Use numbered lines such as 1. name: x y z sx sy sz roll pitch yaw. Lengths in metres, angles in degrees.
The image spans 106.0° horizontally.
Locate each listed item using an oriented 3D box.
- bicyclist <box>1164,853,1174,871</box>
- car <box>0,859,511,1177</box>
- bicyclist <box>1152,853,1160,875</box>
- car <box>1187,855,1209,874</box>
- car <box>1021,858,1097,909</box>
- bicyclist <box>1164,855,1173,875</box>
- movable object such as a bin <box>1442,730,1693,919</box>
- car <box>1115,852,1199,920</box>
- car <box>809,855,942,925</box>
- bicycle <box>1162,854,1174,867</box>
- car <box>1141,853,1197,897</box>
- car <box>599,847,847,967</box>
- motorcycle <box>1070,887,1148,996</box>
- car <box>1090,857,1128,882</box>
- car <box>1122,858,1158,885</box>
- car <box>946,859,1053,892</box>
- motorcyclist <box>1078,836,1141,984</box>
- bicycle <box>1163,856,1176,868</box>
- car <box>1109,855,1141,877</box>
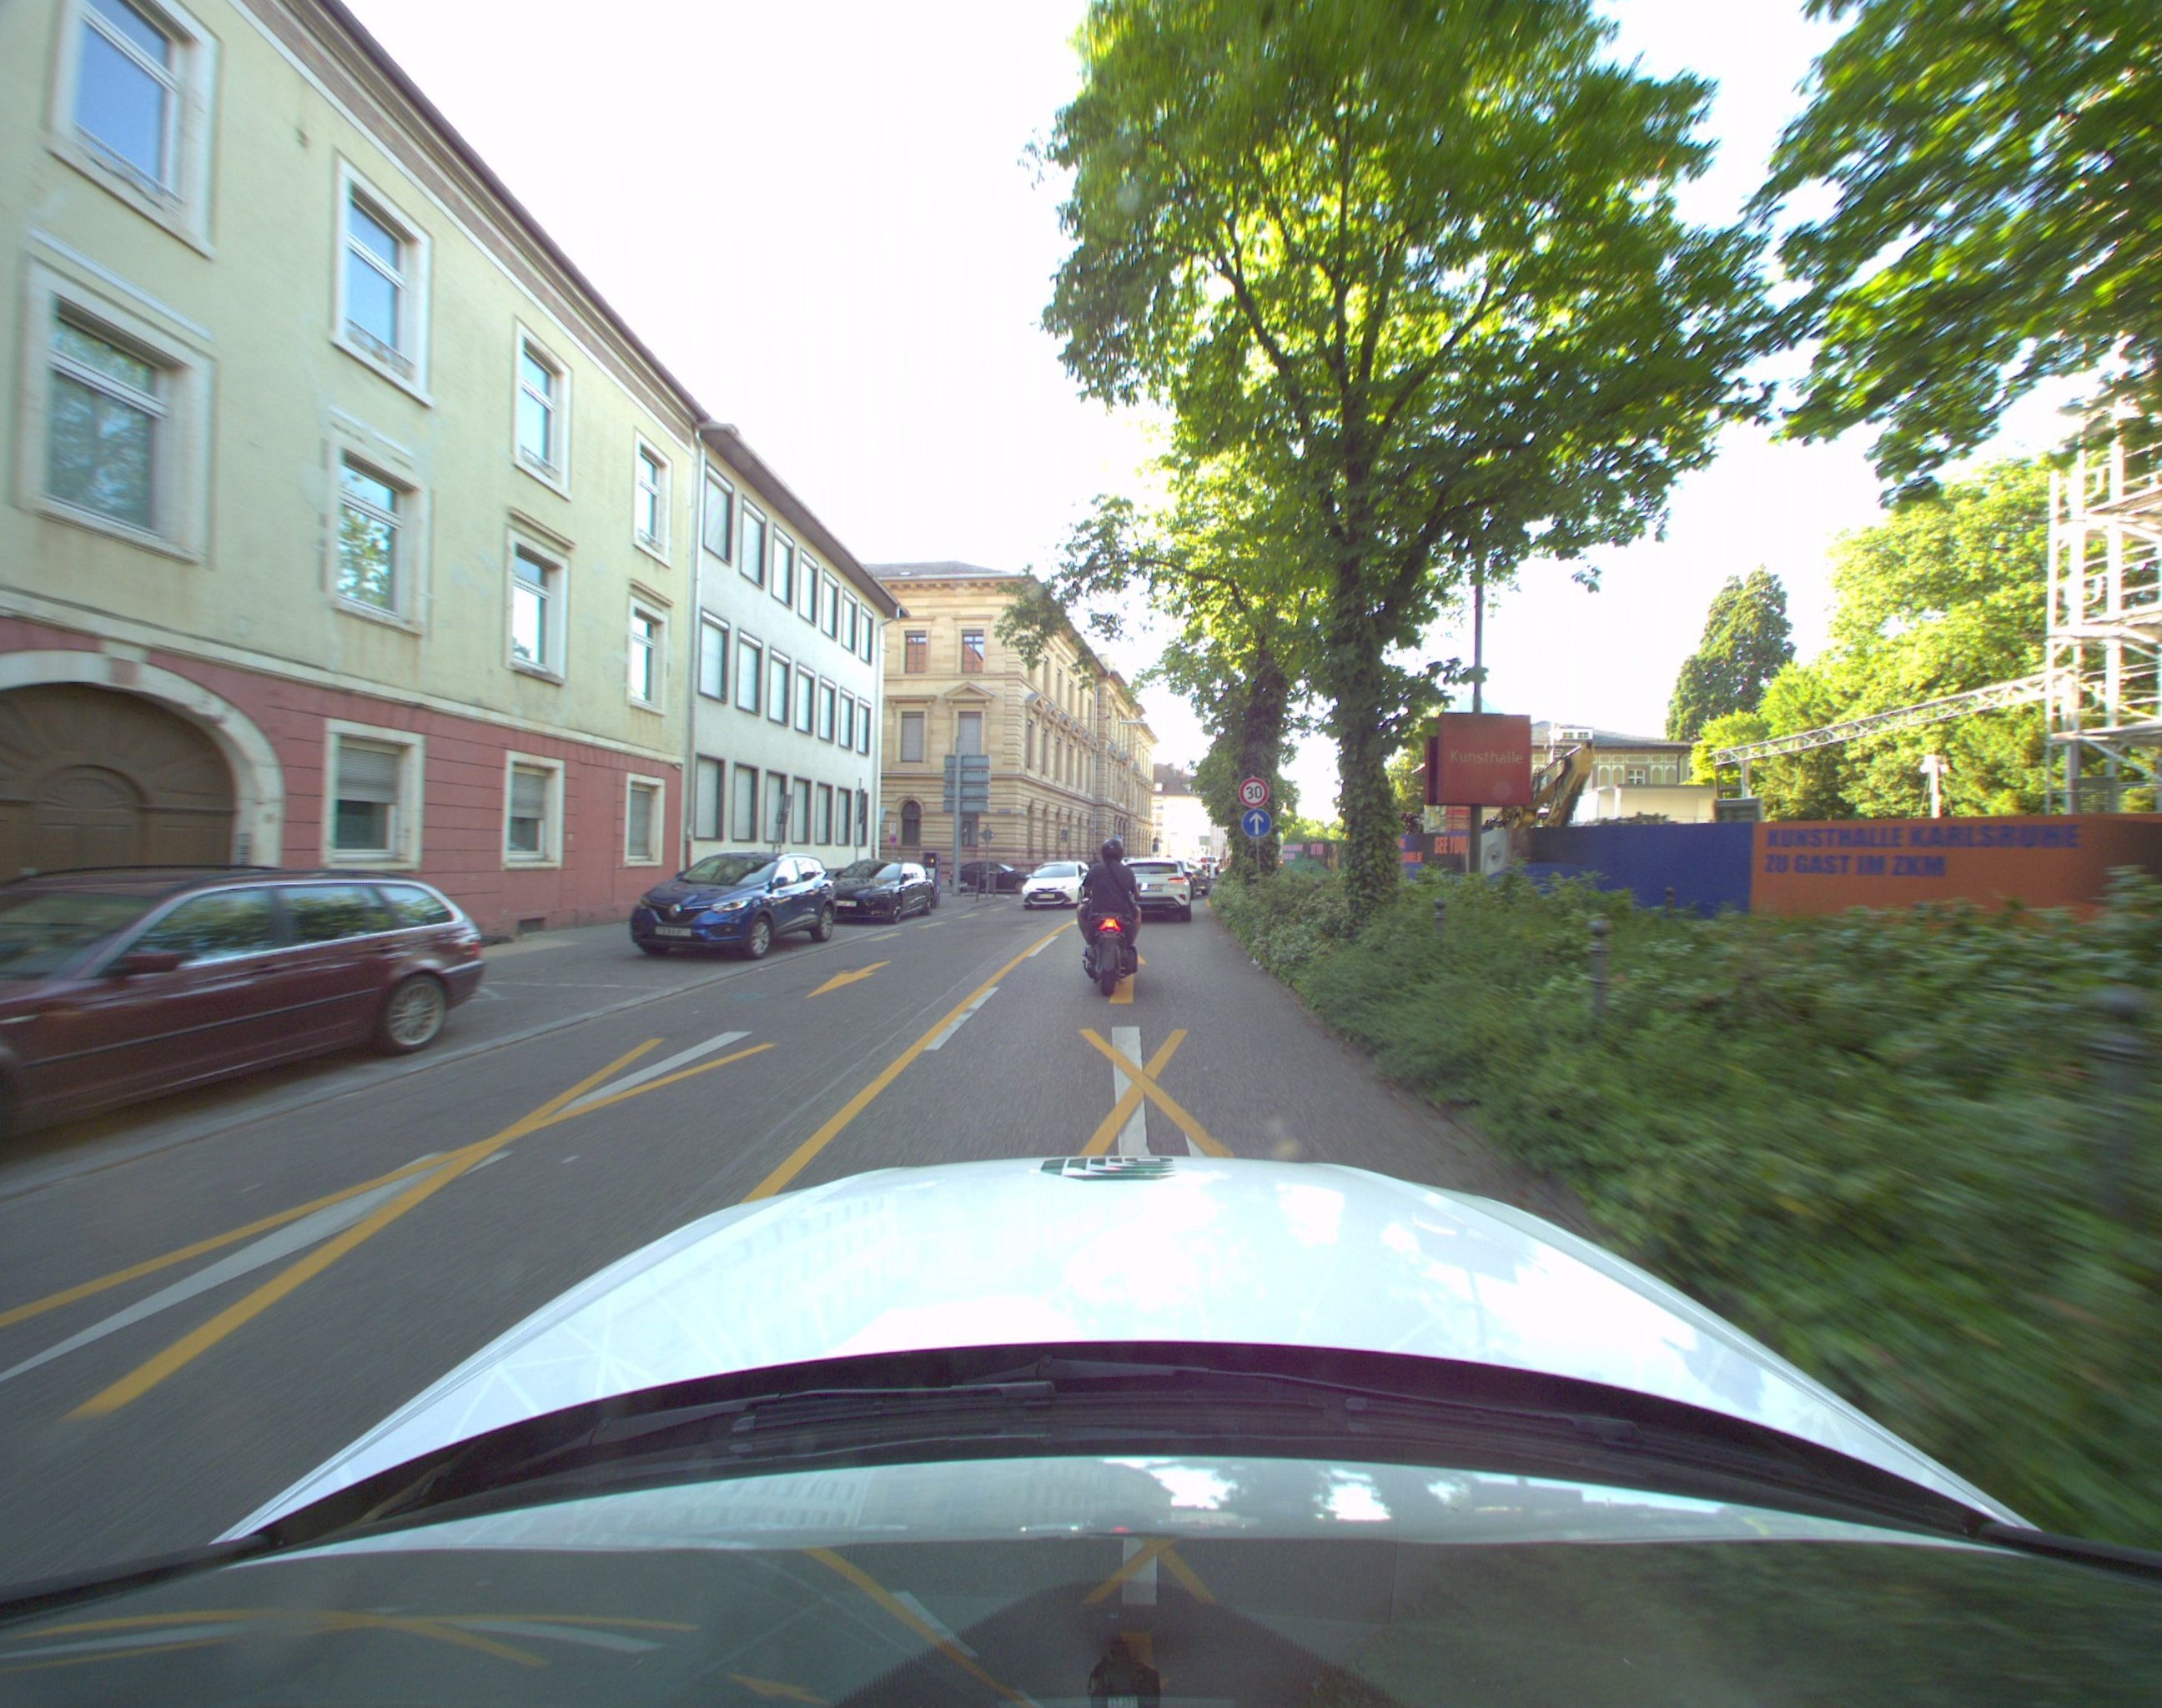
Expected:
1. bicyclist: 7.713 0.699 71.241 0.622 1.554 0.736 0 0 24
2. car: -5.969 0.794 5.085 1.647 1.480 4.428 0 0 0
3. bicyclist: 5.706 0.723 61.952 0.562 1.667 0.837 0 0 10
4. car: 10.885 0.936 75.955 1.982 1.695 4.409 0 0 8
5. car: -0.612 0.893 26.275 1.725 1.421 4.438 -2 0 8
6. bicyclist: 7.128 0.911 66.317 0.623 1.613 0.874 0 0 18
7. movable object such as a bin: 13.480 -0.710 23.629 3.290 4.539 7.919 0 0 6
8. car: 1.807 0.719 20.061 1.843 1.480 4.061 -1 0 3
9. car: -5.040 0.807 20.741 1.816 1.503 4.765 2 0 4
10. bicycle: 7.103 0.496 66.416 0.528 1.035 1.916 0 0 18
11. car: 3.305 0.724 29.880 1.830 1.463 4.067 2 0 8
12. car: -5.632 0.735 13.540 1.925 1.667 4.352 0 0 4
13. motorcycle: 0.344 0.963 9.520 0.793 1.066 1.726 2 0 3
14. car: 1.871 0.965 52.454 1.982 1.567 4.298 0 0 8
15. car: 3.489 0.976 47.778 1.760 1.461 4.480 0 0 8
16. car: -3.542 0.905 35.546 4.283 1.390 1.782 0 0 13
17. motorcyclist: 0.347 0.630 9.546 0.654 1.650 0.651 2 0 4
18. bicycle: 7.741 0.710 71.196 0.528 1.035 2.047 0 0 24
19. car: 3.287 0.873 59.586 1.982 1.528 4.194 0 0 8
